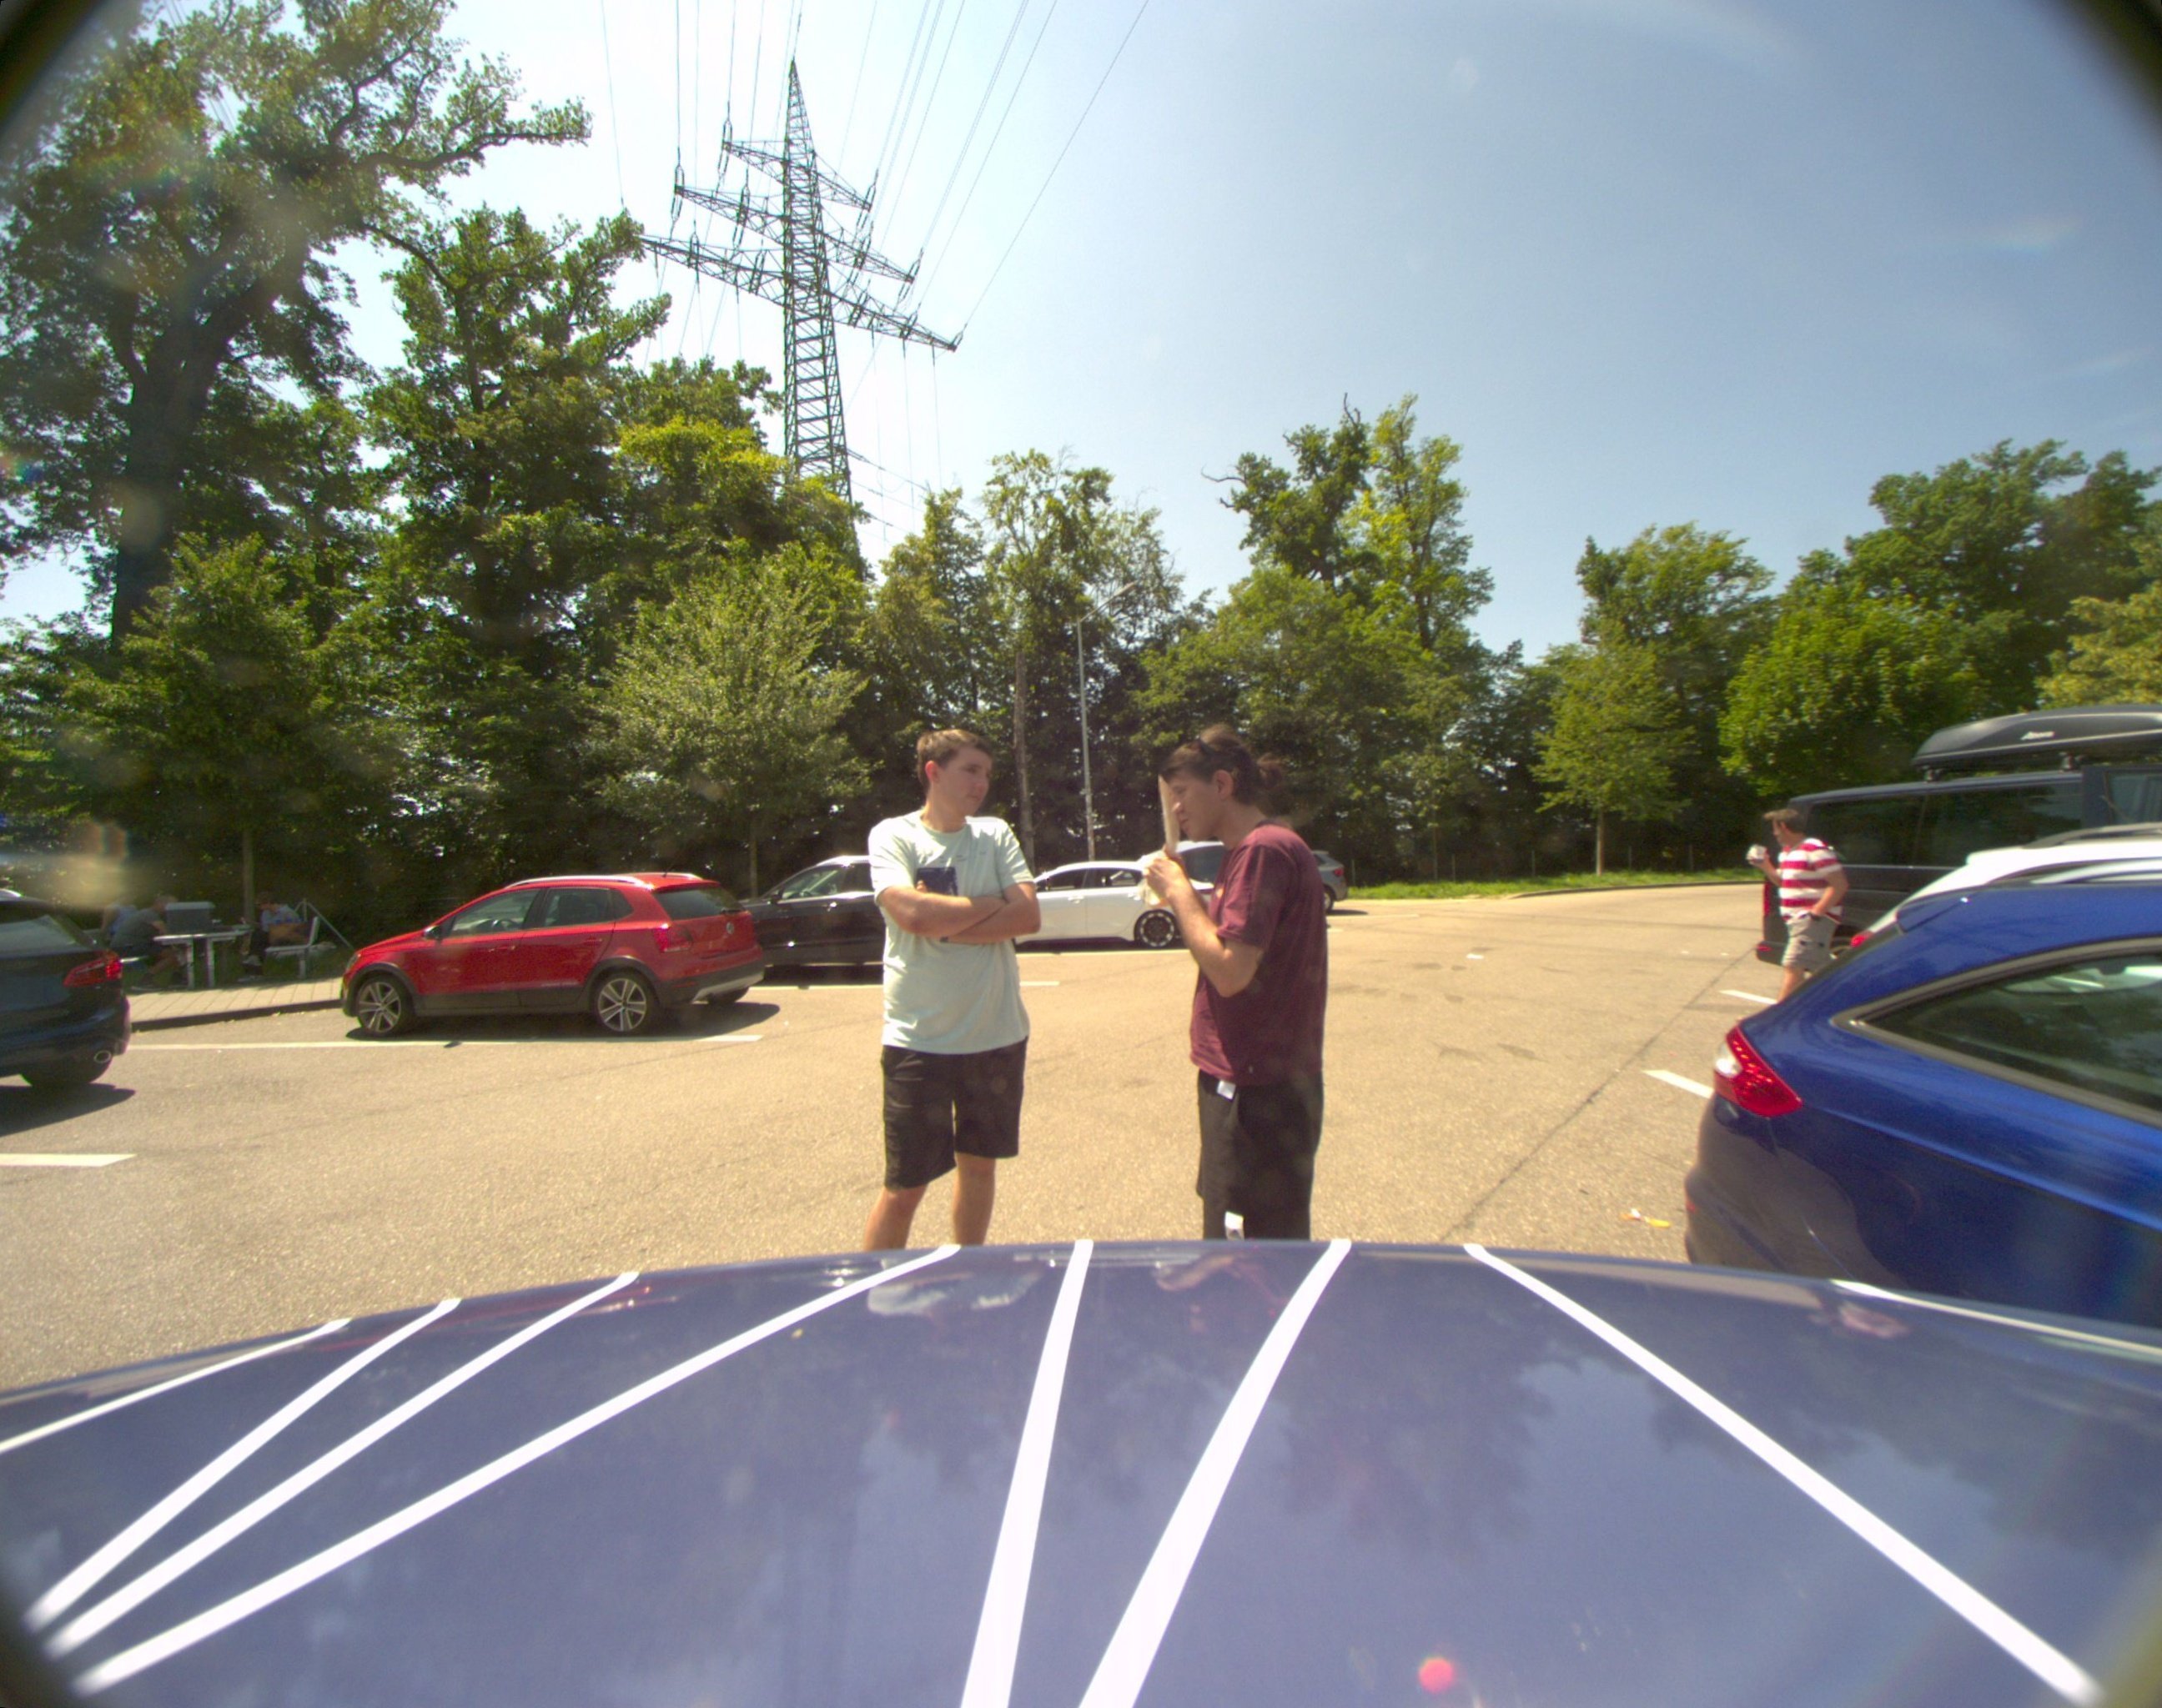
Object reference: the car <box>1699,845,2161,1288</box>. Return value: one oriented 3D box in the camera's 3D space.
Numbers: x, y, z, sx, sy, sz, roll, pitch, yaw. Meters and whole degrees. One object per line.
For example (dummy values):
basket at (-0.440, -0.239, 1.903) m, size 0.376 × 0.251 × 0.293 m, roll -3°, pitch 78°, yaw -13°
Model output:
car at (4.654, 0.726, 2.280) m, size 1.757 × 1.496 × 4.574 m, roll -3°, pitch -1°, yaw -1°

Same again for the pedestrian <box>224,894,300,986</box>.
pedestrian at (-11.853, 1.220, 11.016) m, size 0.595 × 1.238 × 0.499 m, roll -3°, pitch 1°, yaw -33°

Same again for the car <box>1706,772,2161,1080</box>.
car at (7.382, 0.412, 5.311) m, size 1.758 × 1.886 × 4.571 m, roll -3°, pitch -1°, yaw -9°

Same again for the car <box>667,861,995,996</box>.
car at (-3.241, 0.955, 10.328) m, size 3.825 × 1.546 × 1.651 m, roll -2°, pitch 1°, yaw 4°

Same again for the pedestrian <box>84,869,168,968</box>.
pedestrian at (-16.185, 1.077, 12.900) m, size 0.573 × 1.596 × 0.646 m, roll -3°, pitch 1°, yaw -21°

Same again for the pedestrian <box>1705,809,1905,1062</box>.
pedestrian at (5.345, 0.567, 5.671) m, size 0.784 × 1.744 × 0.756 m, roll -2°, pitch 1°, yaw 13°

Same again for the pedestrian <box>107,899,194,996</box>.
pedestrian at (-12.720, 1.260, 10.402) m, size 0.595 × 1.238 × 0.446 m, roll -3°, pitch 1°, yaw -33°

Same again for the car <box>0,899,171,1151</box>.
car at (-9.024, 1.164, 5.034) m, size 4.338 × 1.544 × 1.749 m, roll -1°, pitch 1°, yaw 8°

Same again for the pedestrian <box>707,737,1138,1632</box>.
pedestrian at (-0.481, 0.713, 2.241) m, size 0.815 × 1.939 × 0.918 m, roll -3°, pitch 2°, yaw -42°

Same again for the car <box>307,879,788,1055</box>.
car at (-5.223, 1.083, 7.699) m, size 3.823 × 1.460 × 1.651 m, roll -2°, pitch 1°, yaw 8°

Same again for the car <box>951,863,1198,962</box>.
car at (-0.066, 0.926, 12.703) m, size 3.825 × 1.394 × 1.651 m, roll -2°, pitch 1°, yaw 4°

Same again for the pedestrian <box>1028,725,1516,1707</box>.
pedestrian at (0.475, 0.712, 1.958) m, size 0.919 × 1.894 × 0.815 m, roll -2°, pitch 1°, yaw 16°

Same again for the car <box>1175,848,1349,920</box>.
car at (4.275, 0.700, 18.180) m, size 3.822 × 1.551 × 1.652 m, roll -2°, pitch 1°, yaw 12°

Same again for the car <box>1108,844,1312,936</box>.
car at (2.616, 0.704, 15.484) m, size 3.822 × 1.686 × 1.652 m, roll -2°, pitch 1°, yaw 12°

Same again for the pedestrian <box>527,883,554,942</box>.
pedestrian at (-11.000, 1.176, 15.468) m, size 0.357 × 1.158 × 0.384 m, roll -3°, pitch 2°, yaw -41°

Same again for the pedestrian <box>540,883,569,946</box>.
pedestrian at (-10.155, 1.153, 14.653) m, size 0.357 × 1.158 × 0.384 m, roll -3°, pitch 2°, yaw -41°

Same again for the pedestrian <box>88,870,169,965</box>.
pedestrian at (-16.689, 1.091, 13.334) m, size 0.573 × 1.596 × 0.646 m, roll -3°, pitch 1°, yaw -21°
